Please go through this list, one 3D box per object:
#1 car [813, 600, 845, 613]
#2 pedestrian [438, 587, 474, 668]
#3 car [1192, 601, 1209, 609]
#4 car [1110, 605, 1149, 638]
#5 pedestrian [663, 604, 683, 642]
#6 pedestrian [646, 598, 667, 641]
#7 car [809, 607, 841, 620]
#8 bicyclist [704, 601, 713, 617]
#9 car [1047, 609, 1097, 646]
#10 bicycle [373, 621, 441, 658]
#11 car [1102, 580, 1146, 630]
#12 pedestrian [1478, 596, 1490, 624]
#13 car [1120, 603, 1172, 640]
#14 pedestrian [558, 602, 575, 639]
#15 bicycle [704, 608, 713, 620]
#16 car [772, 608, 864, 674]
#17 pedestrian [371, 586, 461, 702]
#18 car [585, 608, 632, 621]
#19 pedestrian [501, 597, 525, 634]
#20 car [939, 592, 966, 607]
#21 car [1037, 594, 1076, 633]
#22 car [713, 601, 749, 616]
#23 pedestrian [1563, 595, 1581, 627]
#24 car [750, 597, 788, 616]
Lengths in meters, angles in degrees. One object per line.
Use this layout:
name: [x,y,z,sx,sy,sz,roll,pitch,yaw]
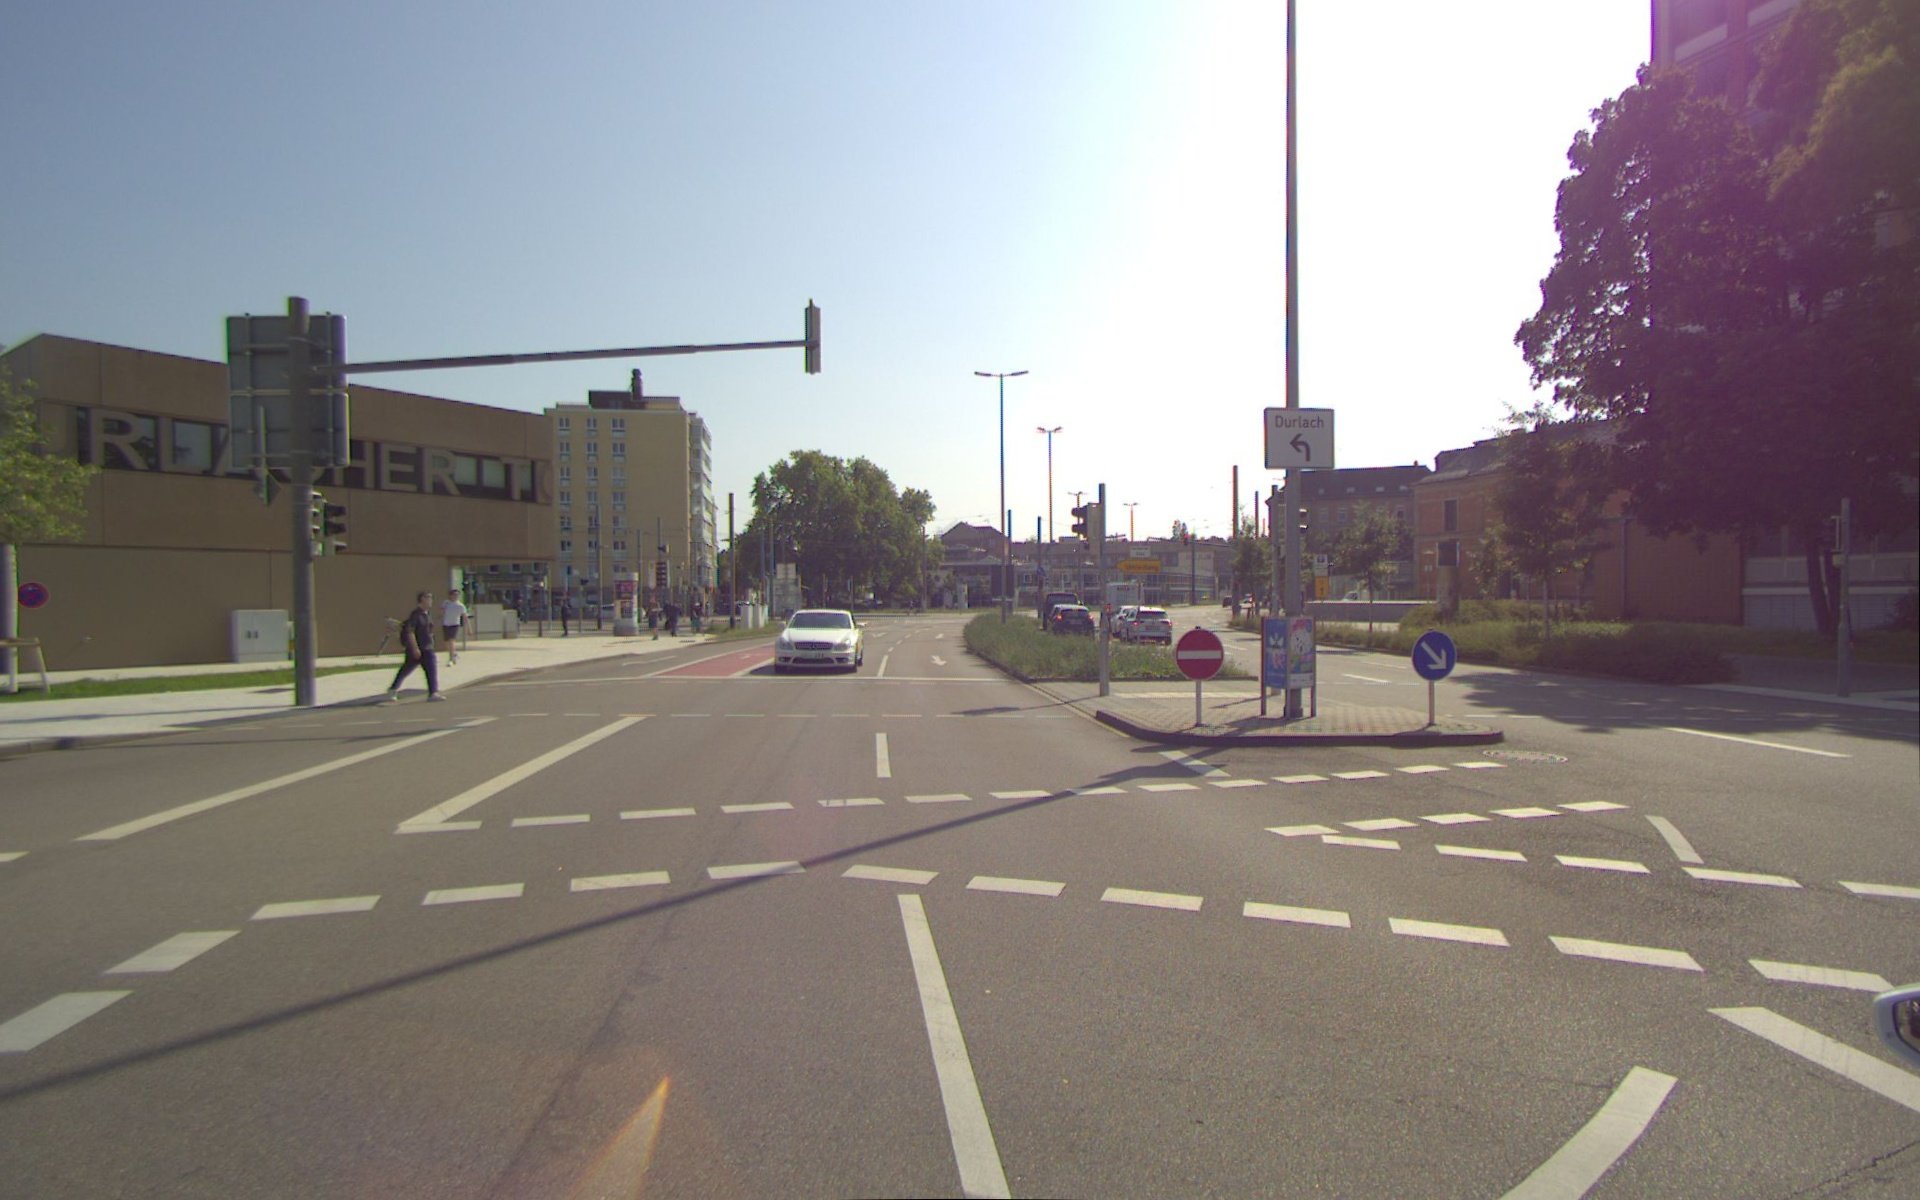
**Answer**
car: [-16.925,0.809,129.756,3.924,1.639,1.812,0,0,-5]
pedestrian: [-11.777,0.625,23.491,0.685,1.857,0.567,-1,0,-23]
car: [43.495,0.887,181.669,1.963,1.461,3.994,0,0,28]
car: [7.782,0.974,46.340,1.464,1.421,3.944,0,-1,4]
pedestrian: [-13.950,1.107,48.770,0.863,1.802,0.844,-1,3,-19]
pedestrian: [-12.737,0.812,42.095,0.671,1.783,0.872,0,0,-29]
car: [-17.017,1.721,126.891,3.924,1.639,1.812,0,0,-5]
bicyclist: [-22.602,0.837,90.220,0.715,1.453,0.688,0,0,-13]
car: [4.470,1.069,40.610,1.673,1.386,3.964,0,0,1]
bicycle: [-15.801,1.108,28.725,0.650,0.969,1.608,2,2,34]
car: [8.888,0.291,54.885,2.151,2.583,4.686,0,-1,7]
pedestrian: [31.353,0.574,60.087,0.605,1.661,0.533,0,0,24]
car: [7.291,0.831,39.703,1.656,1.406,3.636,0,-1,4]
pedestrian: [-17.130,0.880,43.730,0.489,1.601,0.508,0,3,6]
bicycle: [-22.590,1.256,90.174,0.717,0.997,1.727,0,0,-13]
car: [-3.275,0.900,23.987,1.812,1.380,4.816,0,0,-4]
pedestrian: [-8.978,0.716,16.604,1.061,1.864,0.730,-1,0,-1]
car: [-32.013,1.321,91.520,3.769,1.195,1.575,0,-2,-6]
pedestrian: [-23.175,0.811,52.083,0.883,1.844,0.876,3,4,44]
car: [-1.095,-0.089,151.267,3.920,2.041,2.000,0,3,2]
car: [5.175,0.703,54.057,1.989,2.034,4.686,0,0,5]
car: [-26.781,0.962,117.649,3.926,1.579,1.866,0,3,-8]
pedestrian: [31.167,0.559,51.139,0.604,1.650,0.533,-1,0,-3]
car: [-20.536,0.690,108.024,3.927,2.040,1.997,-1,0,-9]
